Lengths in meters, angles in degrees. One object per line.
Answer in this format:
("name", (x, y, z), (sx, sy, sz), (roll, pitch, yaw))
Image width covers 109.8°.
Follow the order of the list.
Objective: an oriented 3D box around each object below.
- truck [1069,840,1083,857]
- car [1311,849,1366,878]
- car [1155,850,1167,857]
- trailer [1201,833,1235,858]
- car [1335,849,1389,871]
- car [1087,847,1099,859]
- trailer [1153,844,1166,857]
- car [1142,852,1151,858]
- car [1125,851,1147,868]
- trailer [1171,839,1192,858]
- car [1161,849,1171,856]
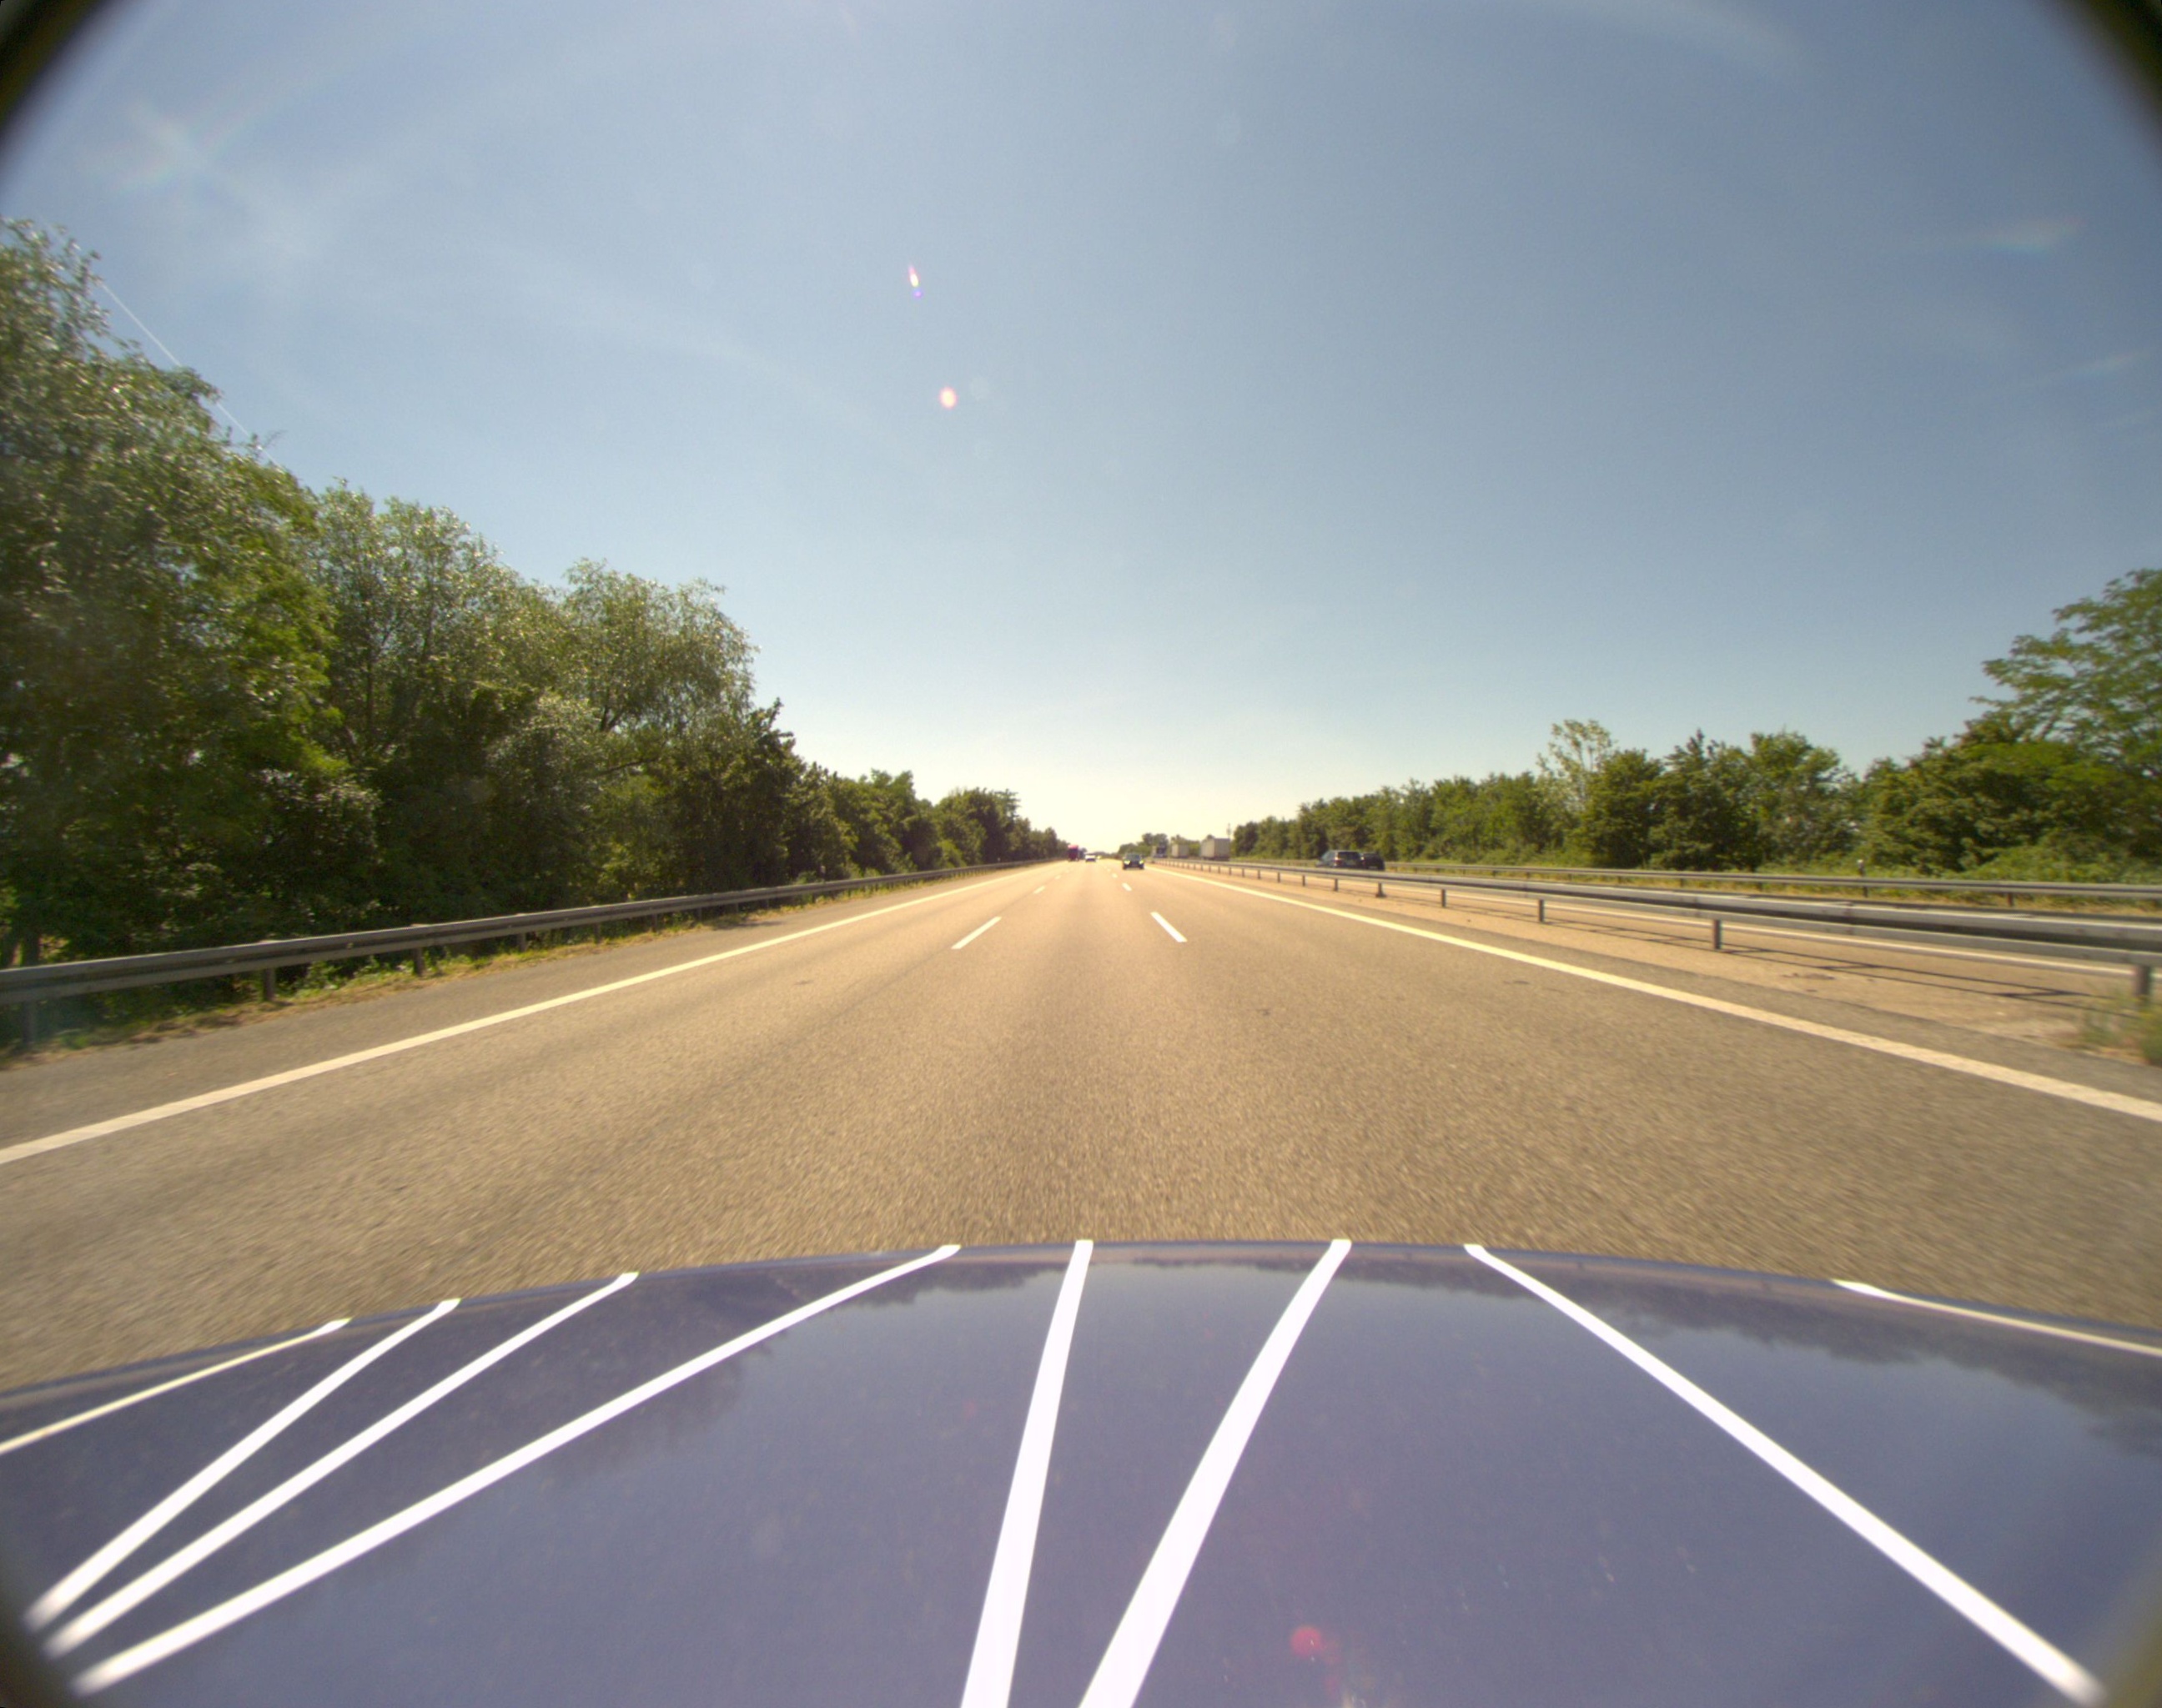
("truck", (-1.126, -1.334, 185.991), (2.938, 3.933, 10.261), (-2, 0, 1))
("car", (13.468, 0.480, 39.913), (1.557, 1.454, 4.046), (0, 0, 1))
("car", (16.092, -0.184, 153.306), (1.854, 1.387, 4.742), (1, 0, 1))
("trailer", (23.178, -1.329, 129.330), (3.305, 4.161, 13.542), (0, 0, 0))
("car", (18.228, 0.372, 49.494), (1.867, 1.393, 4.531), (0, 0, 1))
("car", (2.266, -0.151, 142.088), (1.998, 2.002, 4.756), (-2, 0, 1))
("trailer", (25.033, -1.198, 243.849), (2.927, 4.162, 13.540), (1, 0, 1))
("car", (16.106, 0.304, 186.522), (1.854, 1.455, 5.169), (2, 0, 1))
("car", (4.877, 0.466, 67.888), (1.736, 1.433, 4.000), (-2, 0, 1))
("trailer", (24.205, -1.257, 182.871), (3.357, 4.161, 13.542), (0, 0, 0))
("car", (20.054, -0.332, 180.157), (1.854, 1.455, 4.313), (-4, 0, 1))
